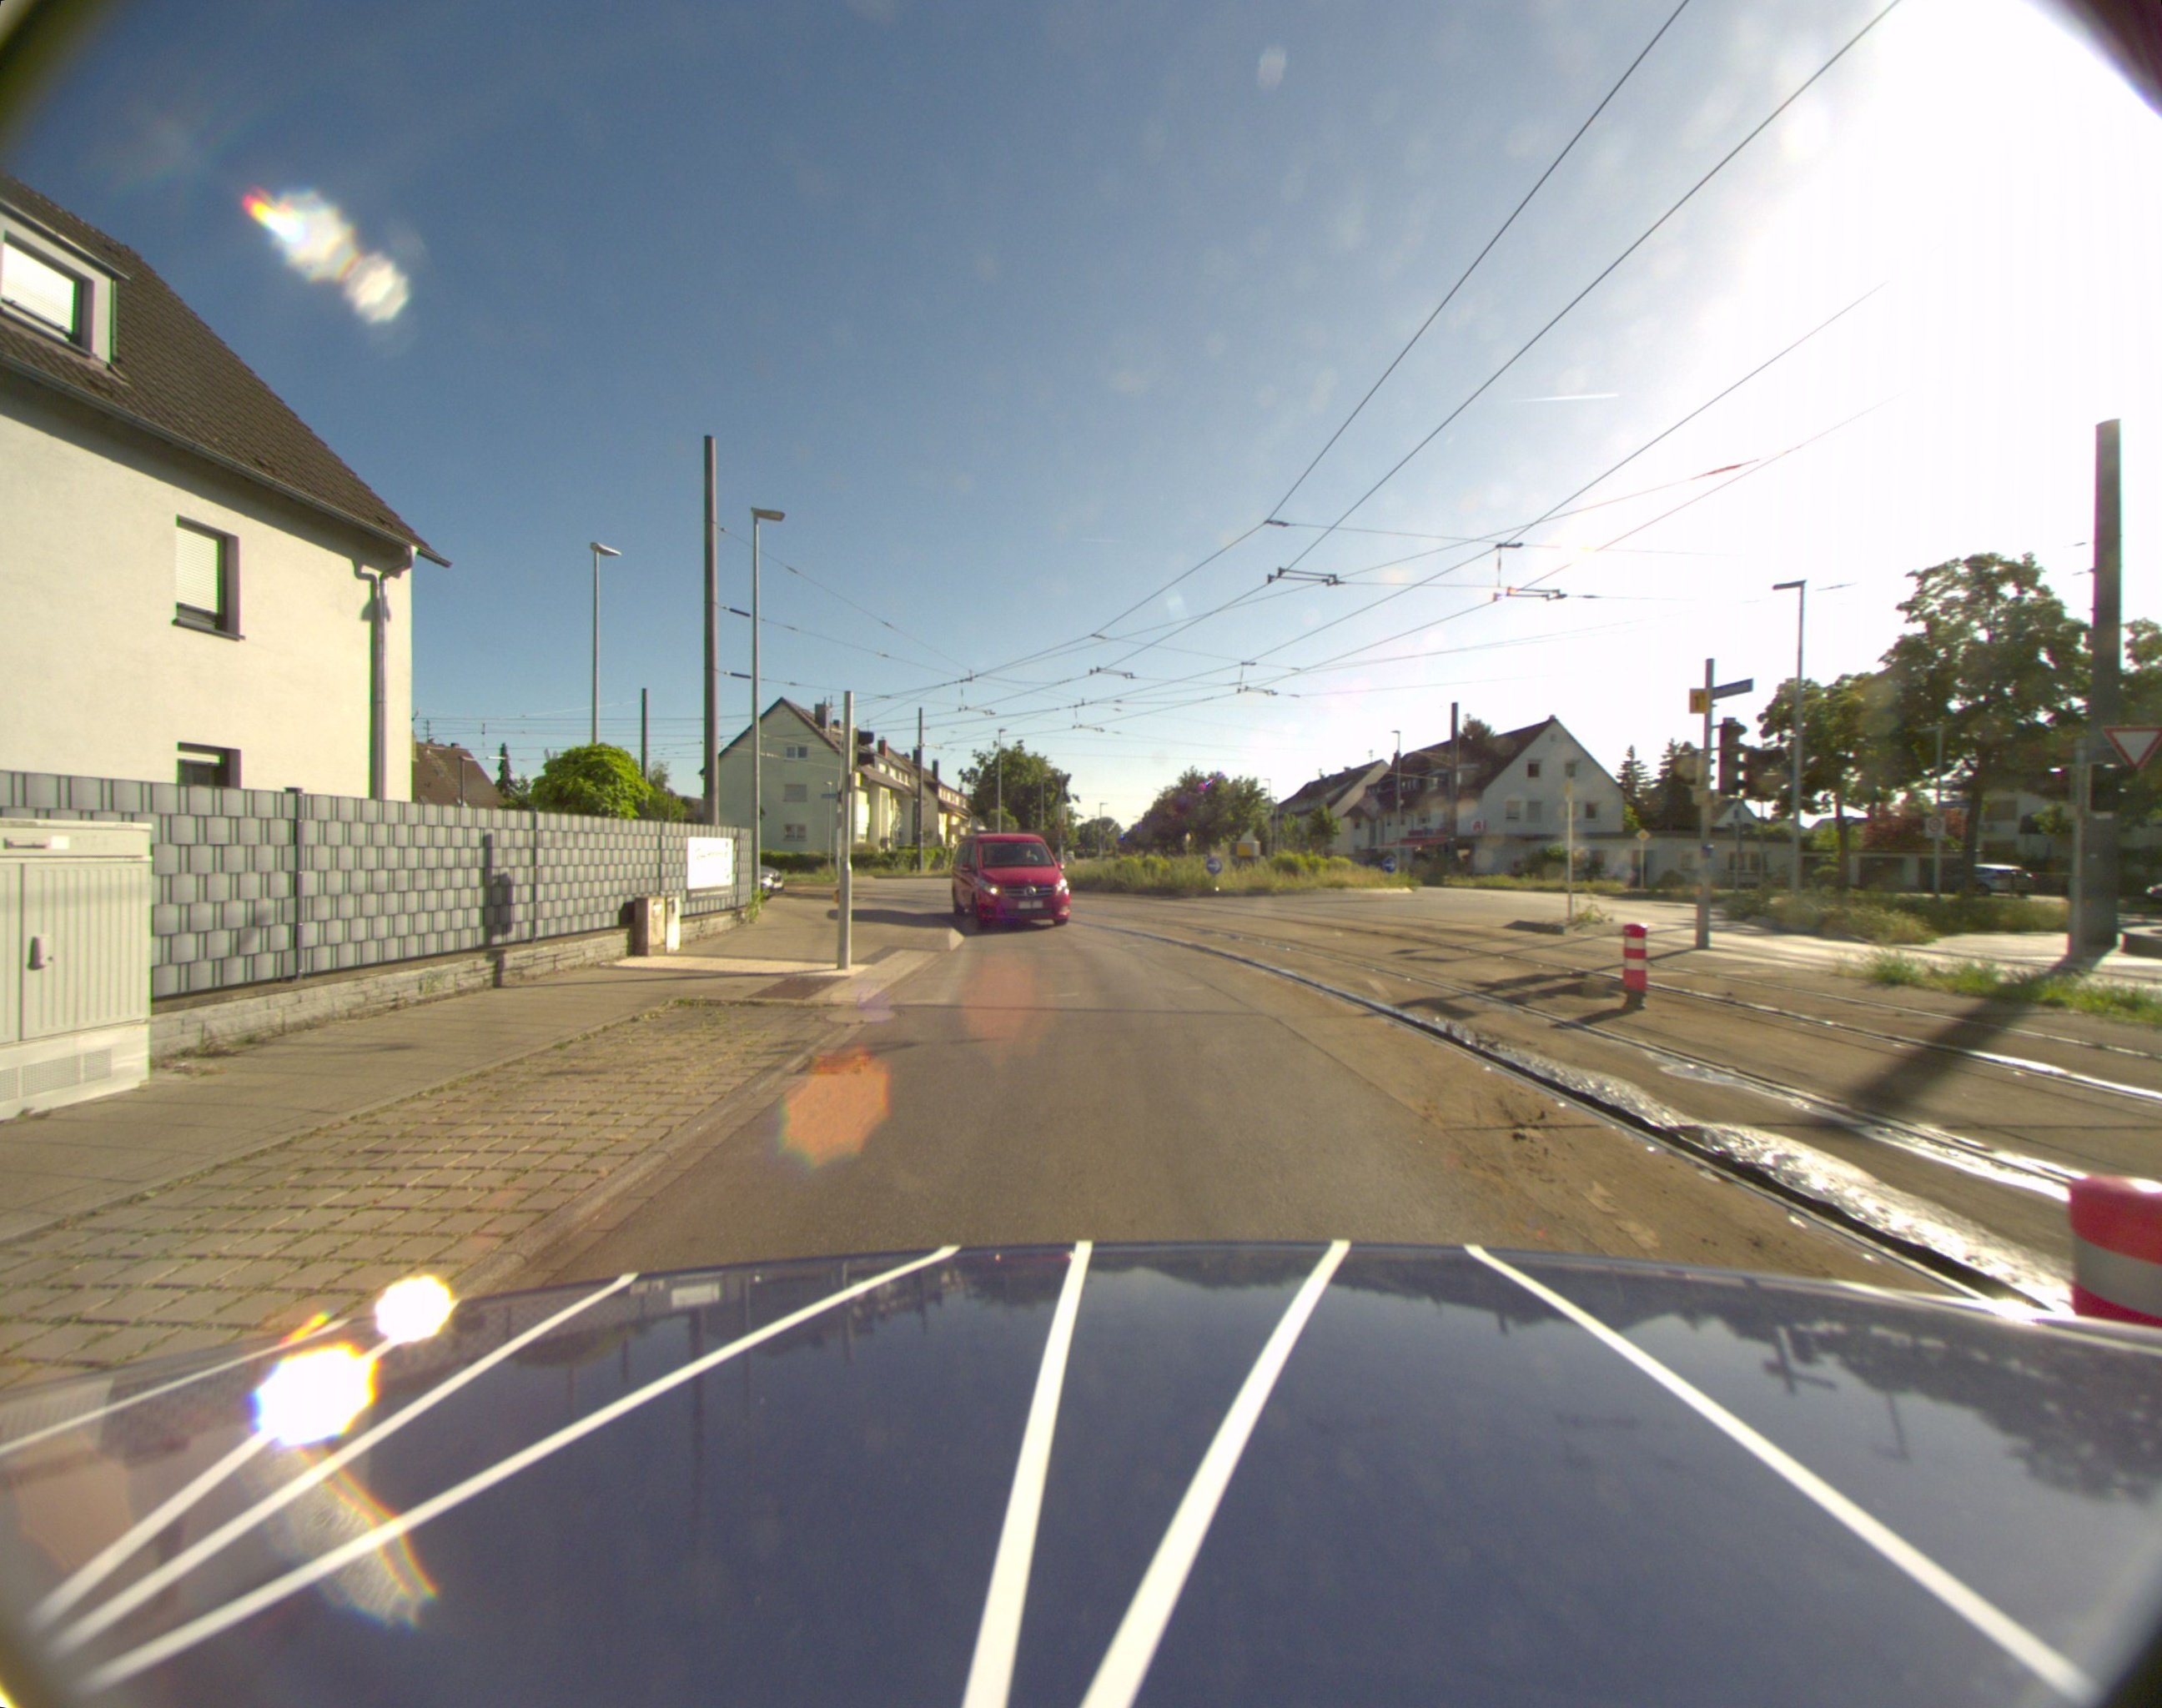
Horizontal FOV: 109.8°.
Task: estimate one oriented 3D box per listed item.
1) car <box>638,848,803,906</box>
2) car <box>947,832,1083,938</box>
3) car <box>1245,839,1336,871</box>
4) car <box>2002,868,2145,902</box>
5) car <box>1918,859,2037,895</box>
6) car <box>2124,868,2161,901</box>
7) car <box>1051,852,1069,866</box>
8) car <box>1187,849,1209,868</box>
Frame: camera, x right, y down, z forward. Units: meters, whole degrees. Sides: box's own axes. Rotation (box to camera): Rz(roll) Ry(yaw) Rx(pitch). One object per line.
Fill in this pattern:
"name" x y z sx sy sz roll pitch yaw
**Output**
"car" -10.553 0.650 22.398 3.995 1.570 1.832 1 1 5
"car" -1.692 0.554 17.120 2.001 1.970 5.229 -1 1 -17
"car" 11.472 0.016 41.784 4.427 1.572 1.840 2 3 33
"car" 43.960 1.364 33.716 3.996 1.357 1.600 1 2 3
"car" 48.665 1.182 41.396 1.997 1.685 4.052 1 2 9
"car" 51.467 1.437 35.178 3.799 1.456 1.804 1 2 0
"car" -2.287 0.530 84.068 1.825 1.385 3.789 1 2 1
"car" 13.927 0.529 90.345 1.895 2.003 4.369 1 2 -1
